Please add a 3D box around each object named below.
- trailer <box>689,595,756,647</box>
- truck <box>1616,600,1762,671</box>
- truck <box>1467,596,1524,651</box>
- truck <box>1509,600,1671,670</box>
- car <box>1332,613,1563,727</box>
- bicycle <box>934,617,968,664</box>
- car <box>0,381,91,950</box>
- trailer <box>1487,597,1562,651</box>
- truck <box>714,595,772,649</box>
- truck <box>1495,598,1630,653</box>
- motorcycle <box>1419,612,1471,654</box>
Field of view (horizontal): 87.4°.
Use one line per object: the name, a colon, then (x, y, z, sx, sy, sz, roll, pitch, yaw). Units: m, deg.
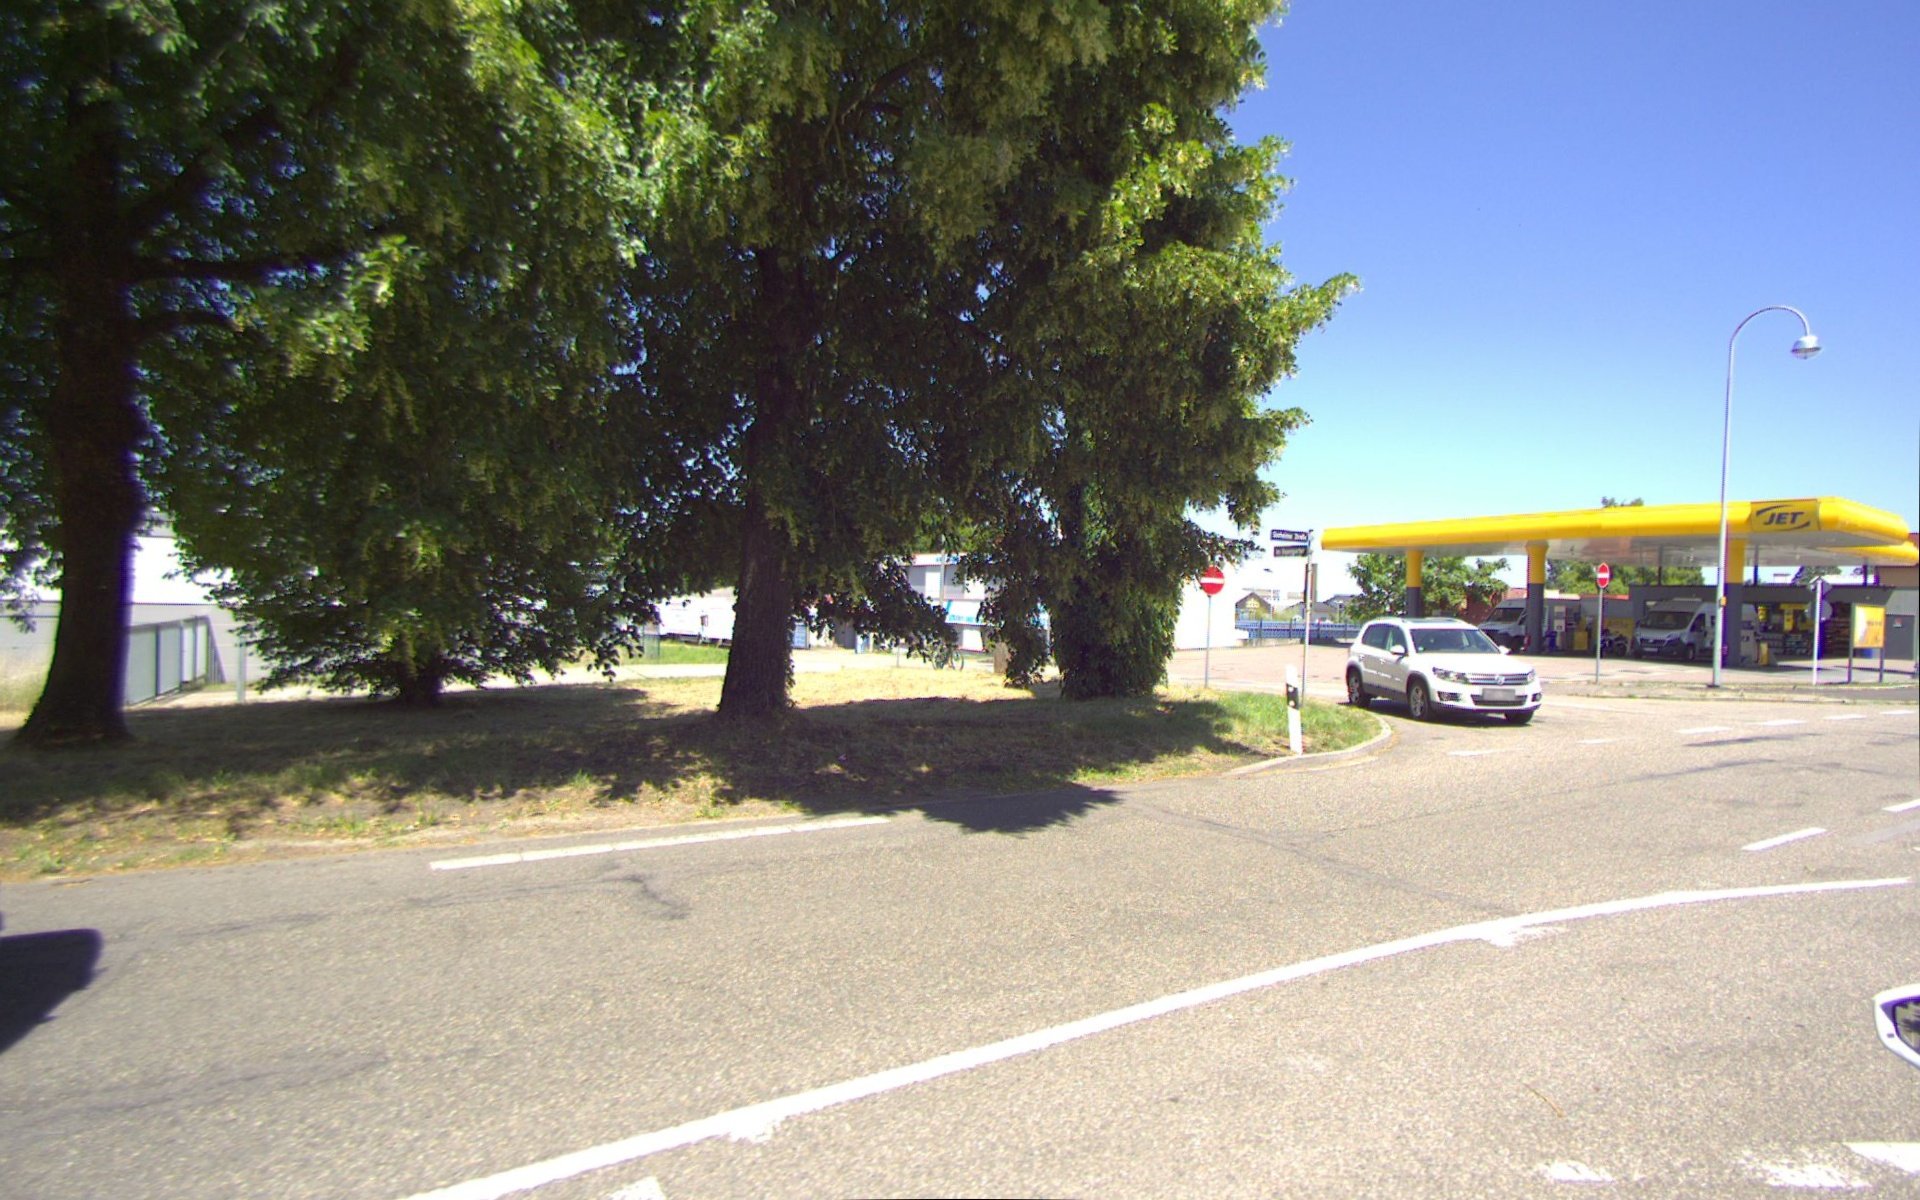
trailer: (-17.163, 1.452, 72.228, 2.284, 3.454, 7.253, 3, -1, -33)
truck: (30.061, 1.489, 41.345, 6.651, 2.632, 2.223, 3, -1, -29)
truck: (32.714, 1.431, 61.307, 3.159, 3.285, 1.832, 2, 0, -37)
truck: (29.529, 1.629, 47.147, 6.622, 2.951, 2.639, 3, -1, -16)
car: (8.258, 1.108, 17.508, 1.936, 1.695, 4.248, 2, -1, 0)
bicycle: (-0.274, 1.204, 30.184, 0.390, 1.366, 1.532, 2, -2, -25)
car: (-5.115, 0.143, 2.055, 4.729, 1.805, 1.813, 3, -2, -32)
trailer: (35.769, 1.566, 63.599, 5.858, 3.262, 1.851, 2, 0, -37)
truck: (-14.905, 1.484, 68.815, 2.284, 3.468, 4.678, 3, -1, -33)
truck: (41.978, 1.704, 70.296, 2.136, 3.471, 7.812, 3, -1, -37)
motorcycle: (25.079, 1.724, 51.920, 2.755, 2.040, 0.834, 3, -1, -25)
